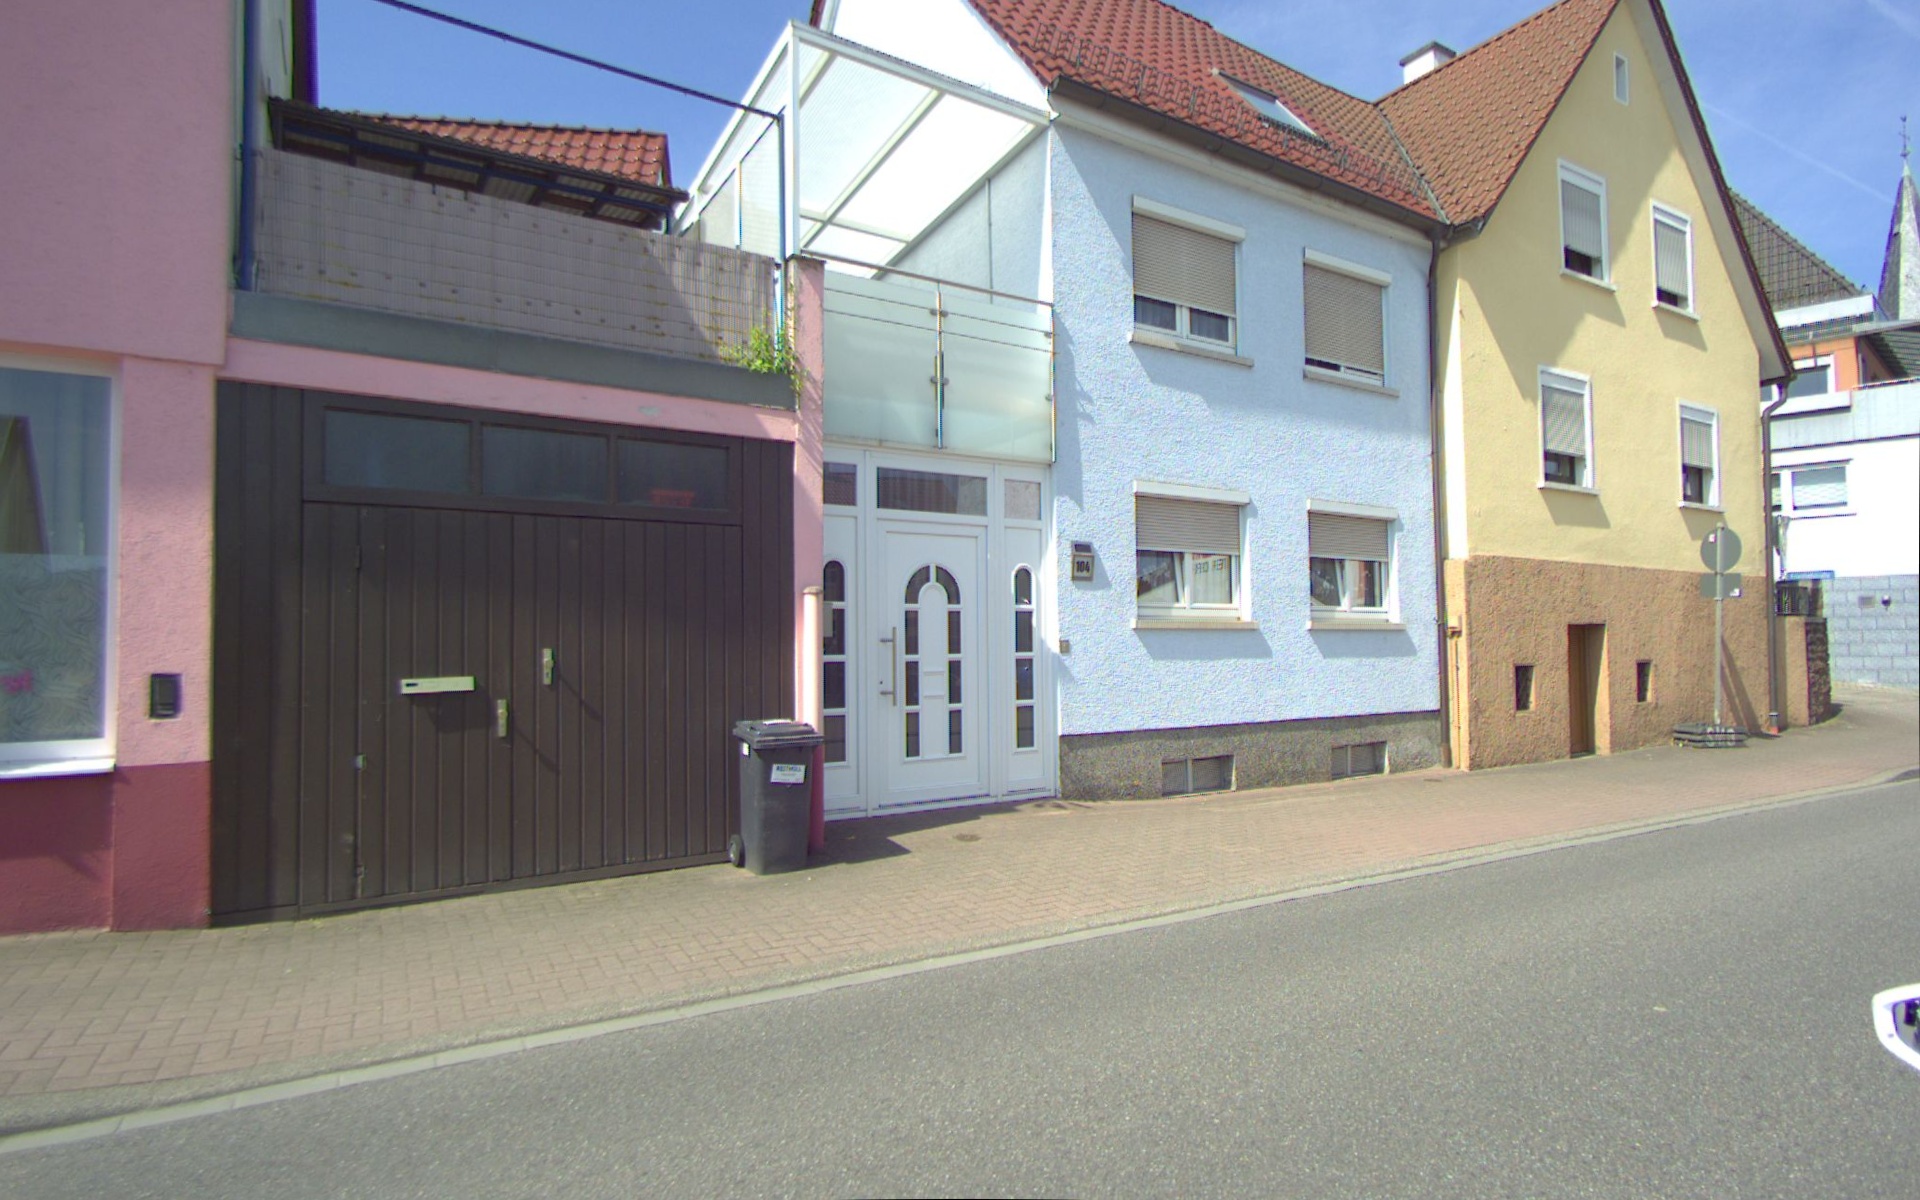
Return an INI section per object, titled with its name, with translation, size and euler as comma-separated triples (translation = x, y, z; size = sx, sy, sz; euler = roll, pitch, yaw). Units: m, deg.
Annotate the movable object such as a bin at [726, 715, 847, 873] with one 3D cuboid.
[movable object such as a bin]
translation = -1.144, 1.240, 6.586
size = 0.592, 0.891, 0.627
euler = 2, -1, -29
